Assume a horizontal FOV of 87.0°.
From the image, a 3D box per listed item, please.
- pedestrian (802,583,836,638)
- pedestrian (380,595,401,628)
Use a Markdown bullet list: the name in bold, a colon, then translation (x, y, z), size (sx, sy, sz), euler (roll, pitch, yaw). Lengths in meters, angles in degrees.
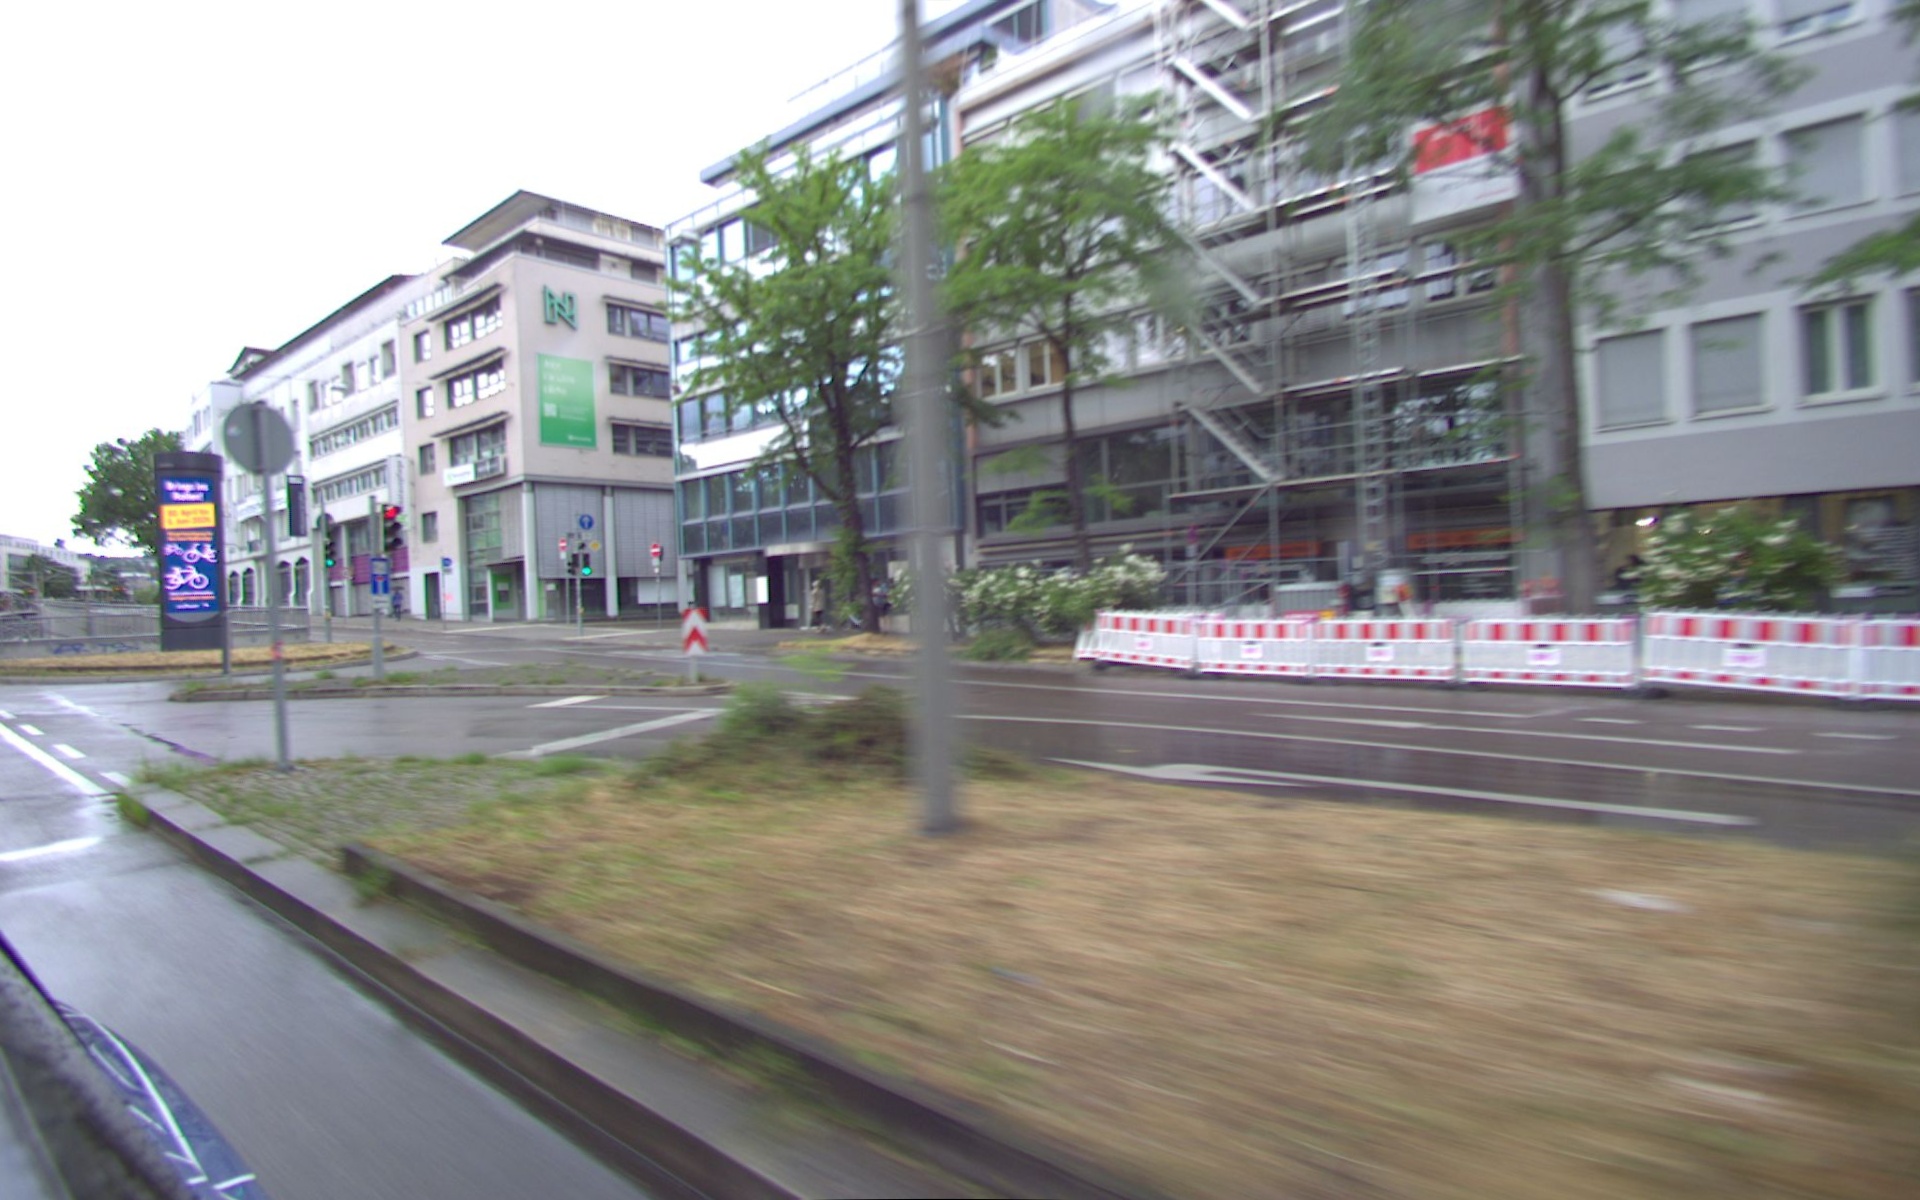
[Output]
- **pedestrian**: translation (-4.564, 0.340, 32.706), size (0.757, 1.727, 0.731), euler (-1, 0, 41)
- **pedestrian**: translation (-29.883, 0.606, 53.116), size (0.803, 1.741, 0.687), euler (-1, 0, 39)
